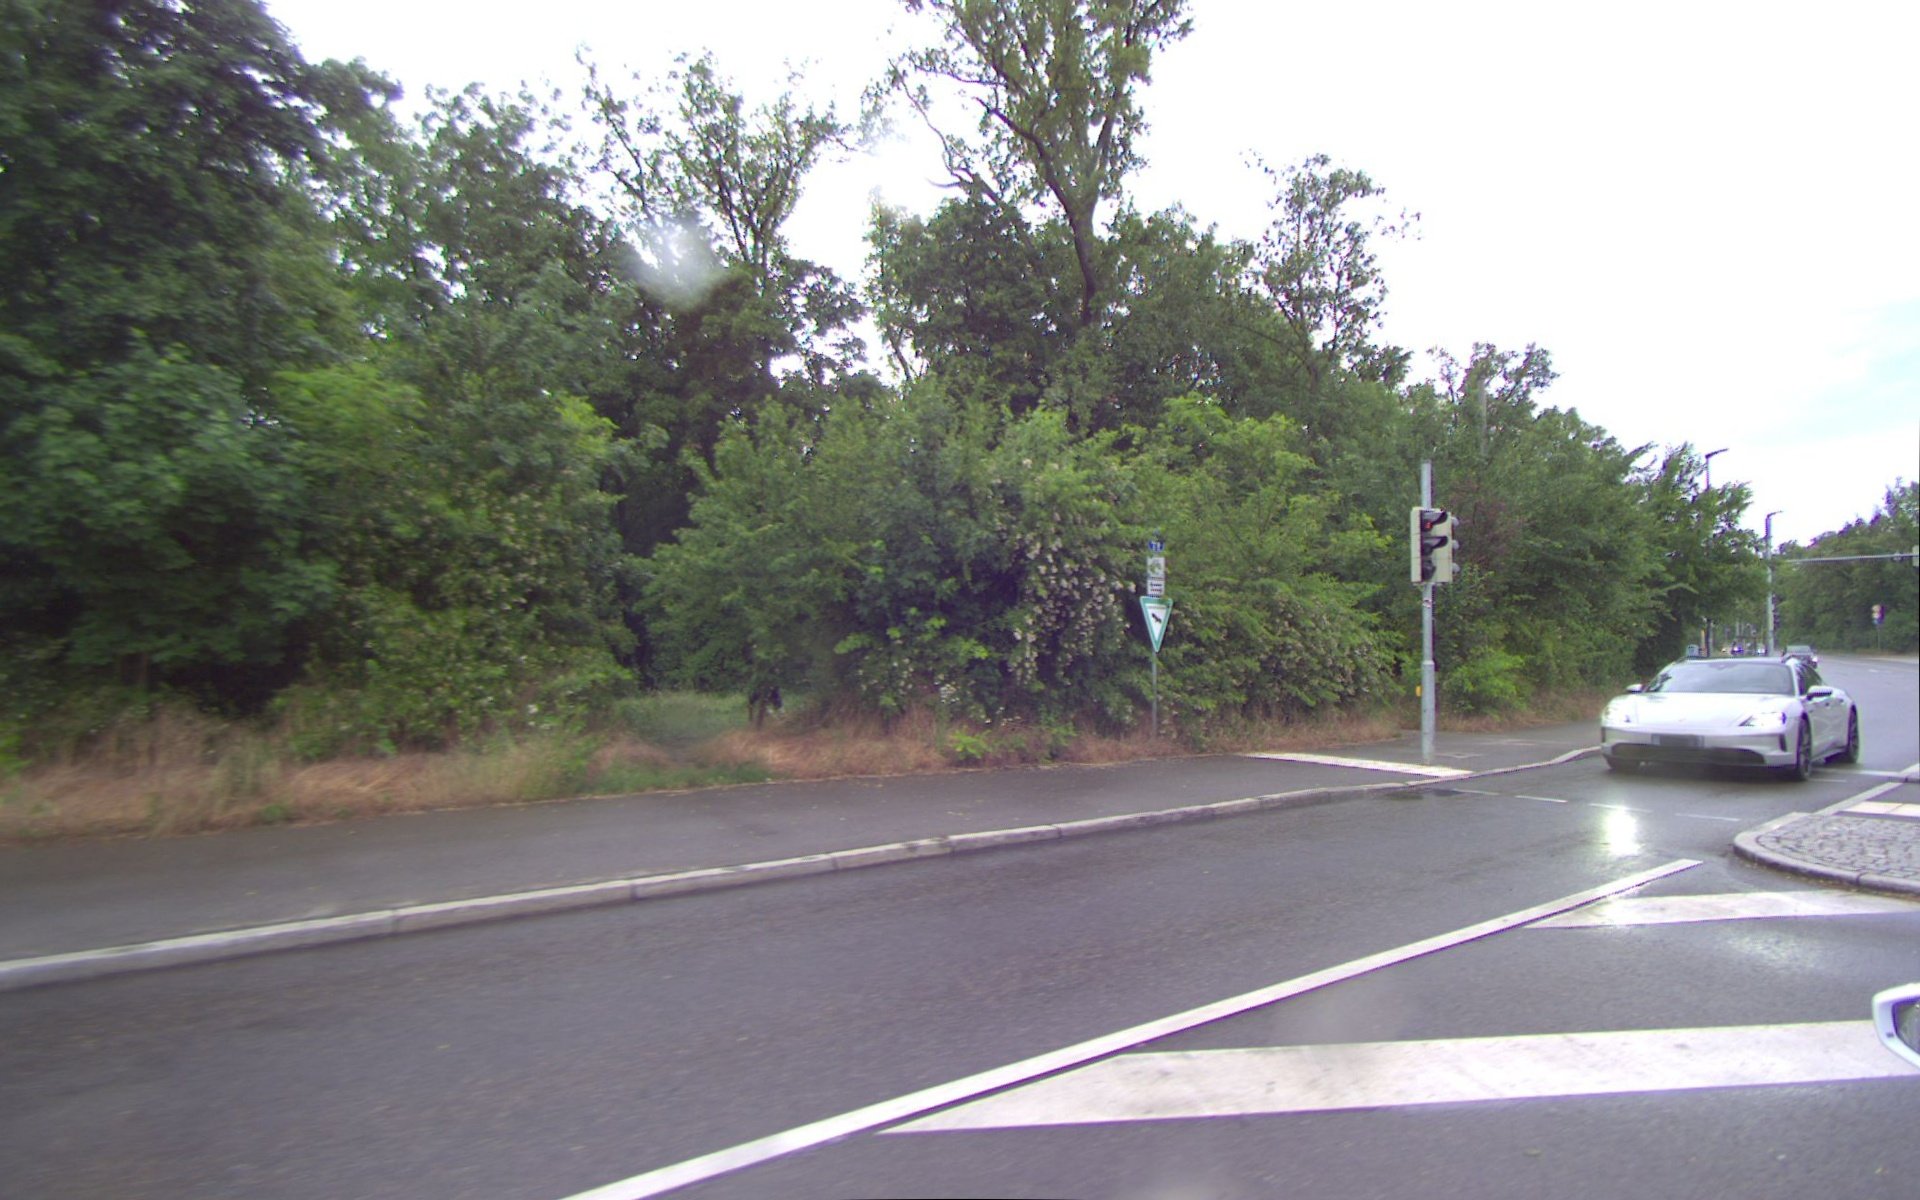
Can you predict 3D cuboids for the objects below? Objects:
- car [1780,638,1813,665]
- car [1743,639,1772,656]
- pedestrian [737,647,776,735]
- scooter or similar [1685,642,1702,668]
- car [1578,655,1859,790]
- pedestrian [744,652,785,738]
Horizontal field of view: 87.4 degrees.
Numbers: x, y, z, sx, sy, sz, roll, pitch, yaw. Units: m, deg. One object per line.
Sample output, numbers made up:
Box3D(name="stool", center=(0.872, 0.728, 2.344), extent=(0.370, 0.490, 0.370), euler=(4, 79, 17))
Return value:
Box3D(name="car", center=(55.014, 3.378, 66.099), extent=(1.558, 1.753, 3.757), euler=(-3, -4, 39))
Box3D(name="car", center=(67.338, 4.010, 84.841), extent=(1.718, 1.369, 4.195), euler=(-3, -4, 36))
Box3D(name="pedestrian", center=(-3.912, 1.733, 19.268), extent=(0.601, 1.654, 0.462), euler=(1, -2, -30))
Box3D(name="scooter or similar", center=(34.848, 2.608, 47.709), extent=(0.512, 1.228, 1.461), euler=(-1, -2, 42))
Box3D(name="car", center=(9.818, 1.422, 12.865), extent=(4.567, 1.394, 1.924), euler=(2, -4, -41))
Box3D(name="pedestrian", center=(-3.580, 1.723, 18.397), extent=(0.601, 1.522, 0.462), euler=(1, -2, -30))
